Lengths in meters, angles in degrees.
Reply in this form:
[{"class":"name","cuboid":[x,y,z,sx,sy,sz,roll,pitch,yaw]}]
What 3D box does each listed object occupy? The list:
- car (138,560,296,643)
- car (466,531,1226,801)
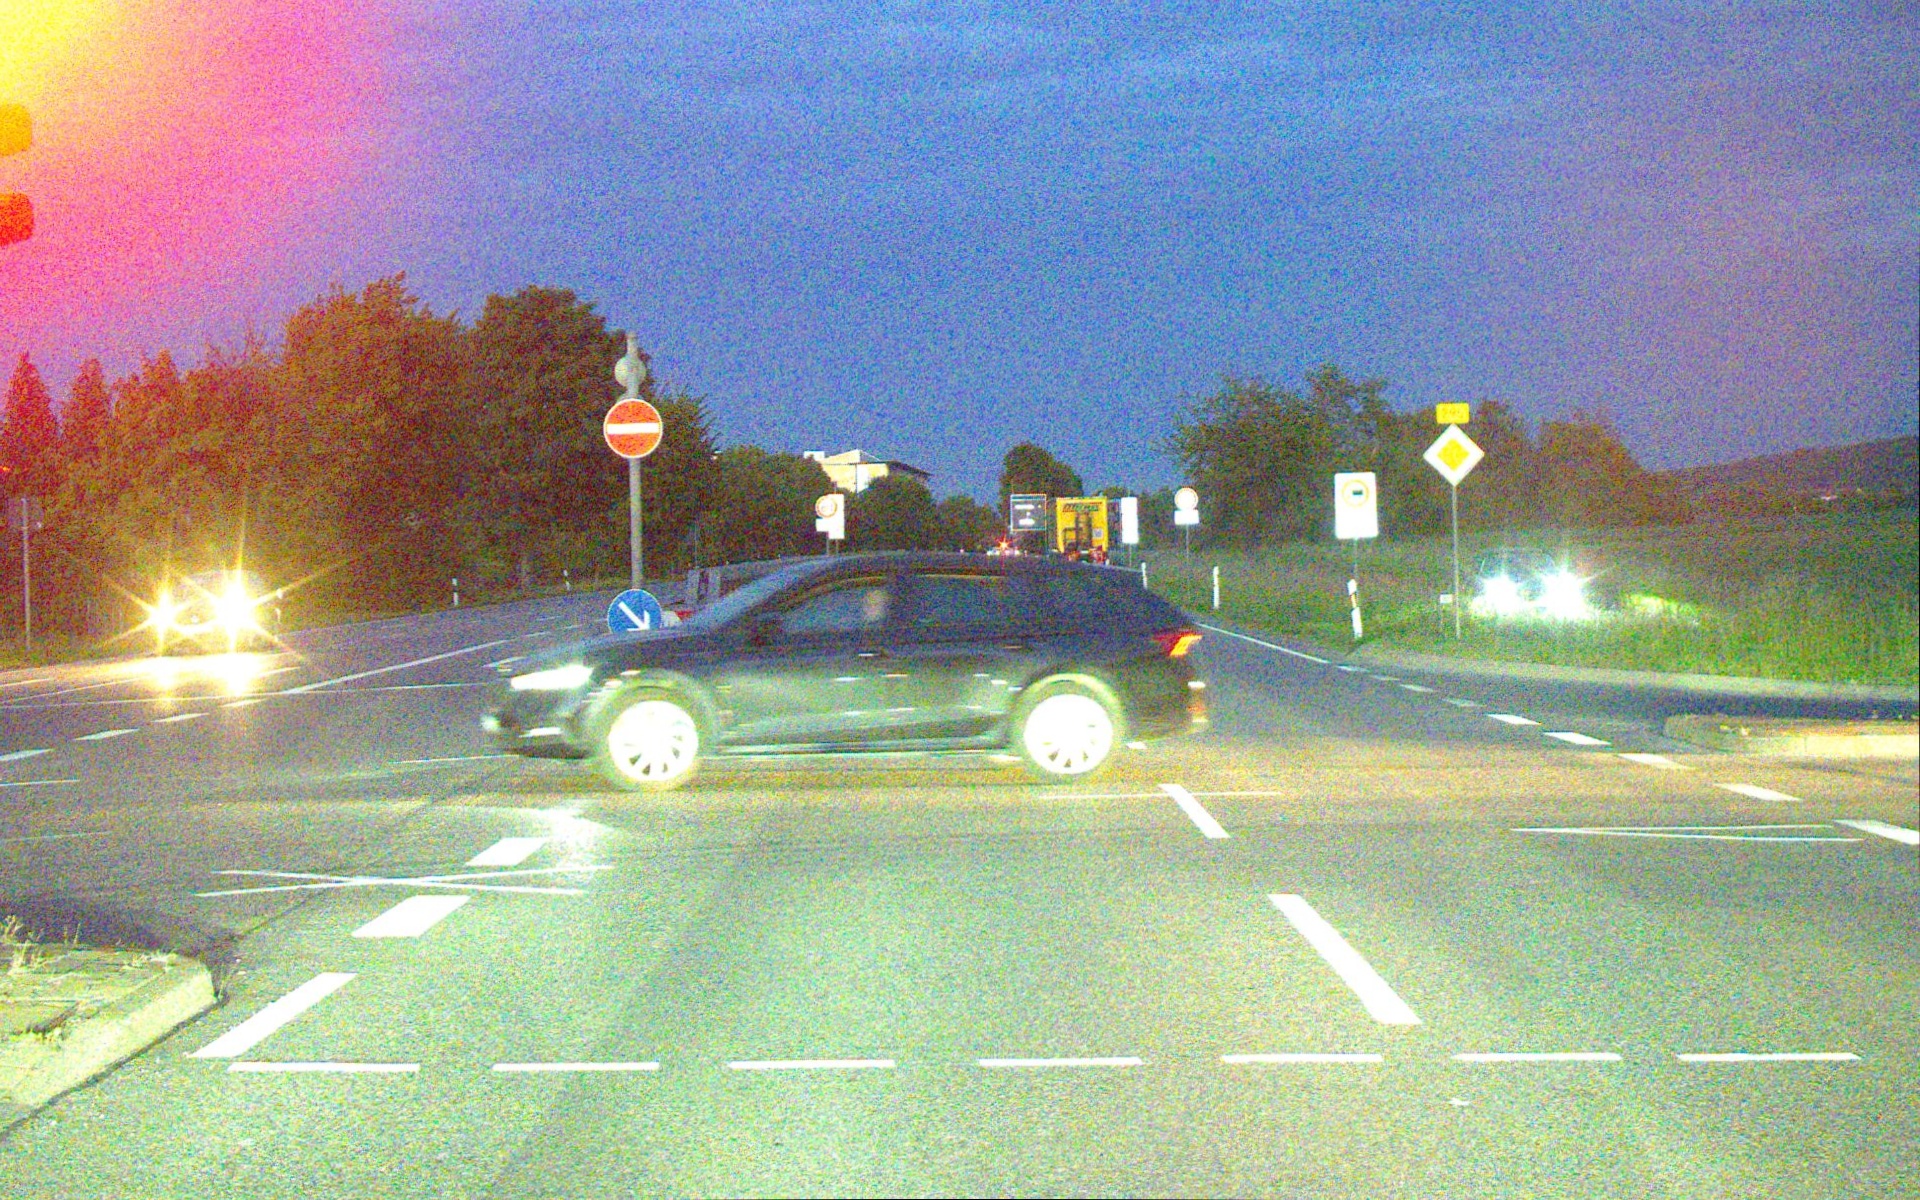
[{"class":"car","cuboid":[-13.312,0.006,61.803,1.993,1.382,4.000,-1,1,-1]},{"class":"car","cuboid":[-0.790,0.378,22.356,4.599,1.515,2.001,-2,1,-13]}]
